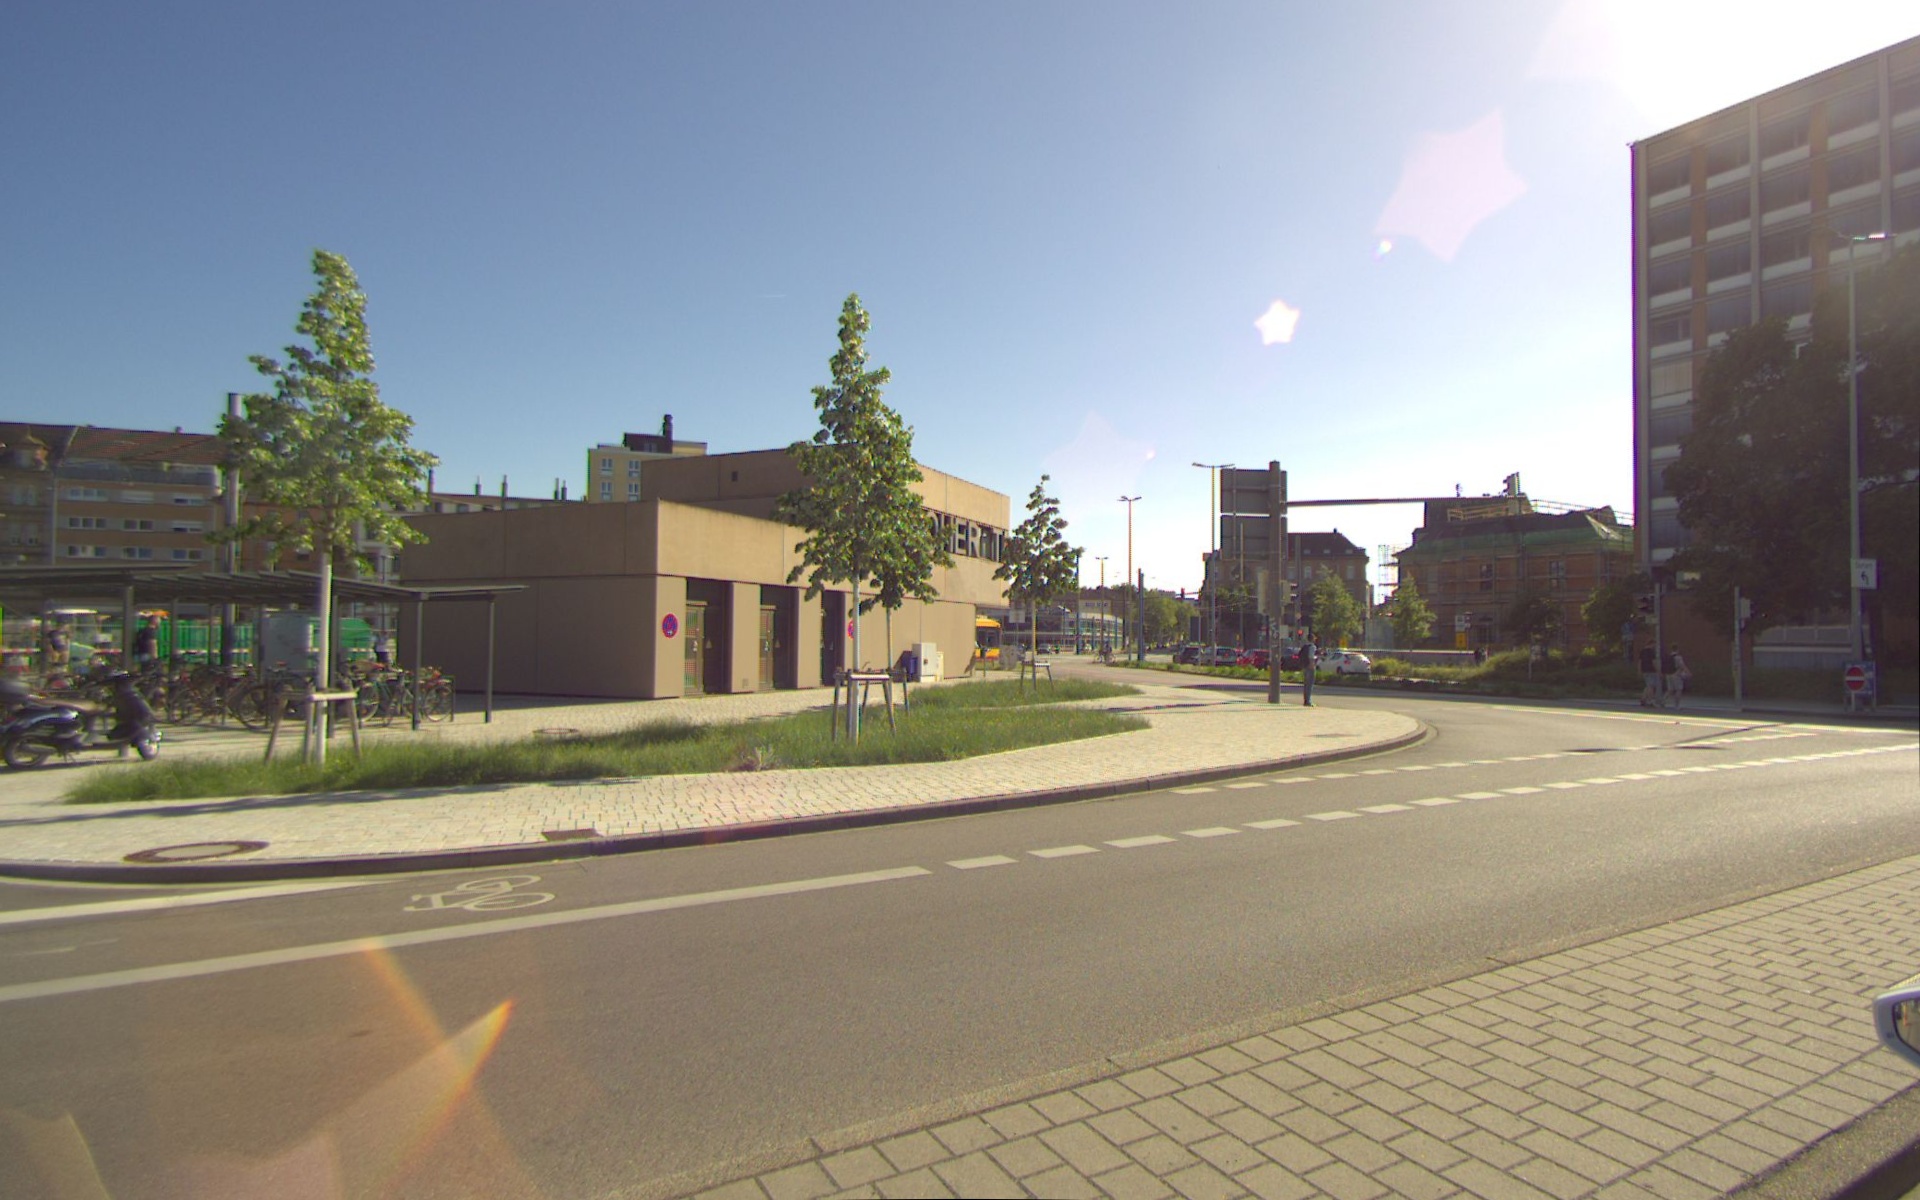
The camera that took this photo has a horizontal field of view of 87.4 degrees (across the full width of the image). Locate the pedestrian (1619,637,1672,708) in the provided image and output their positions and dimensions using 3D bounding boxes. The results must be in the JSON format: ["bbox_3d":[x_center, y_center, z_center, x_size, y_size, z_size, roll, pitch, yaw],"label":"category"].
[{"bbox_3d":[18.808,1.977,27.578,0.895,1.887,0.813,1,-2,-16],"label":"pedestrian"}]

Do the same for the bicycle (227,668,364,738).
[{"bbox_3d":[-10.912,1.662,16.570,0.449,1.022,1.902,0,-2,26],"label":"bicycle"}]

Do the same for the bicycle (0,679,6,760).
[{"bbox_3d":[-12.747,1.484,12.004,0.449,1.022,1.902,0,-2,26],"label":"bicycle"}]

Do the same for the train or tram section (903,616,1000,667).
[{"bbox_3d":[-0.381,2.796,70.599,2.649,3.275,10.595,2,0,24],"label":"train or tram section"}]

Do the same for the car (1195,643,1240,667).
[{"bbox_3d":[17.458,3.692,68.272,1.760,1.528,3.880,1,-2,-6],"label":"car"}]

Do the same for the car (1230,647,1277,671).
[{"bbox_3d":[20.206,4.031,69.252,1.760,1.528,3.880,1,-2,-6],"label":"car"}]

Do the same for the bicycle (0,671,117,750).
[{"bbox_3d":[-13.031,1.536,14.015,0.449,1.022,1.902,0,-2,26],"label":"bicycle"}]

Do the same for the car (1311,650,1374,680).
[{"bbox_3d":[21.250,3.592,55.935,1.760,1.528,3.880,1,-2,-6],"label":"car"}]

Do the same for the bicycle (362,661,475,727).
[{"bbox_3d":[-9.929,1.696,18.490,0.449,1.112,1.902,0,-2,26],"label":"bicycle"}]

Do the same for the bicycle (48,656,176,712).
[{"bbox_3d":[-16.702,1.638,19.839,0.449,1.022,1.902,0,-2,26],"label":"bicycle"}]

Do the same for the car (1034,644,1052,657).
[{"bbox_3d":[11.283,6.823,136.692,1.709,1.672,4.002,0,-2,17],"label":"car"}]

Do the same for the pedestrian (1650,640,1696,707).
[{"bbox_3d":[18.909,1.936,26.643,0.748,1.753,0.680,1,-2,-16],"label":"pedestrian"}]

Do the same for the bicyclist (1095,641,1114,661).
[{"bbox_3d":[12.177,4.302,84.862,1.544,1.655,0.811,2,0,8],"label":"bicyclist"}]

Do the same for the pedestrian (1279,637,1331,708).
[{"bbox_3d":[8.659,1.801,25.223,1.044,1.753,0.652,1,-2,-16],"label":"pedestrian"}]

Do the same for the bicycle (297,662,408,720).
[{"bbox_3d":[-11.799,1.743,19.577,0.449,1.022,1.902,0,-2,26],"label":"bicycle"}]

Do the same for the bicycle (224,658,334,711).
[{"bbox_3d":[-14.075,1.728,20.829,0.449,1.022,1.902,0,-2,26],"label":"bicycle"}]

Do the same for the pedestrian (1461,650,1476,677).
[{"bbox_3d":[33.438,4.160,66.049,0.754,1.753,0.675,2,-2,-39],"label":"pedestrian"}]

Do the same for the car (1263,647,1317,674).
[{"bbox_3d":[20.580,3.765,62.756,1.760,1.528,3.880,1,-2,-6],"label":"car"}]

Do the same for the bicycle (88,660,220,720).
[{"bbox_3d":[-15.083,1.655,18.865,0.449,1.022,1.902,0,-2,26],"label":"bicycle"}]

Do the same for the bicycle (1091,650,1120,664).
[{"bbox_3d":[12.262,4.837,84.836,2.370,1.076,0.811,2,0,9],"label":"bicycle"}]

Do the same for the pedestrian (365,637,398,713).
[{"bbox_3d":[-15.816,2.053,27.469,0.710,2.039,0.682,2,-4,-30],"label":"pedestrian"}]

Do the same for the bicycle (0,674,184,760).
[{"bbox_3d":[-11.816,1.556,13.724,0.449,1.022,1.902,0,-2,26],"label":"bicycle"}]

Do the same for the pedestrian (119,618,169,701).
[{"bbox_3d":[-18.551,1.346,22.848,0.555,1.858,0.683,0,-2,27],"label":"pedestrian"}]

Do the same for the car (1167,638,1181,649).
[{"bbox_3d":[43.155,8.745,202.453,1.760,2.040,3.993,0,-2,29],"label":"car"}]

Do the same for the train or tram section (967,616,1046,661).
[{"bbox_3d":[3.885,2.973,80.313,2.649,3.275,10.595,2,0,24],"label":"train or tram section"}]

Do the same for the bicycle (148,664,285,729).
[{"bbox_3d":[-12.900,1.648,17.490,0.449,1.022,1.902,0,-2,26],"label":"bicycle"}]

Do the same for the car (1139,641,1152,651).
[{"bbox_3d":[36.218,8.946,195.920,1.961,2.040,4.000,0,-2,20],"label":"car"}]

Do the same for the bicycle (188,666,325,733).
[{"bbox_3d":[-11.891,1.652,17.060,0.449,1.022,1.902,0,-2,26],"label":"bicycle"}]

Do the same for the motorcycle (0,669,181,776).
[{"bbox_3d":[-10.922,1.475,12.470,0.508,1.166,1.947,0,-2,25],"label":"motorcycle"}]

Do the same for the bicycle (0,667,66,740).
[{"bbox_3d":[-14.161,1.508,14.446,0.449,1.022,1.902,0,-2,26],"label":"bicycle"}]

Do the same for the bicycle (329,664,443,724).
[{"bbox_3d":[-10.709,1.734,18.820,0.449,1.022,1.902,0,-2,26],"label":"bicycle"}]

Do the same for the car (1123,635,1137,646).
[{"bbox_3d":[34.216,8.150,202.212,1.961,2.040,3.998,2,0,23],"label":"car"}]

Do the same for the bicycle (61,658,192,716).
[{"bbox_3d":[-15.919,1.643,19.240,0.449,1.022,1.902,0,-2,26],"label":"bicycle"}]

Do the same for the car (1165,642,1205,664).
[{"bbox_3d":[16.777,3.928,74.999,1.760,1.528,3.880,1,-2,-6],"label":"car"}]

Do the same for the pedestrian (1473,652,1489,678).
[{"bbox_3d":[35.737,4.419,68.862,0.752,1.753,0.677,2,-2,-32],"label":"pedestrian"}]
